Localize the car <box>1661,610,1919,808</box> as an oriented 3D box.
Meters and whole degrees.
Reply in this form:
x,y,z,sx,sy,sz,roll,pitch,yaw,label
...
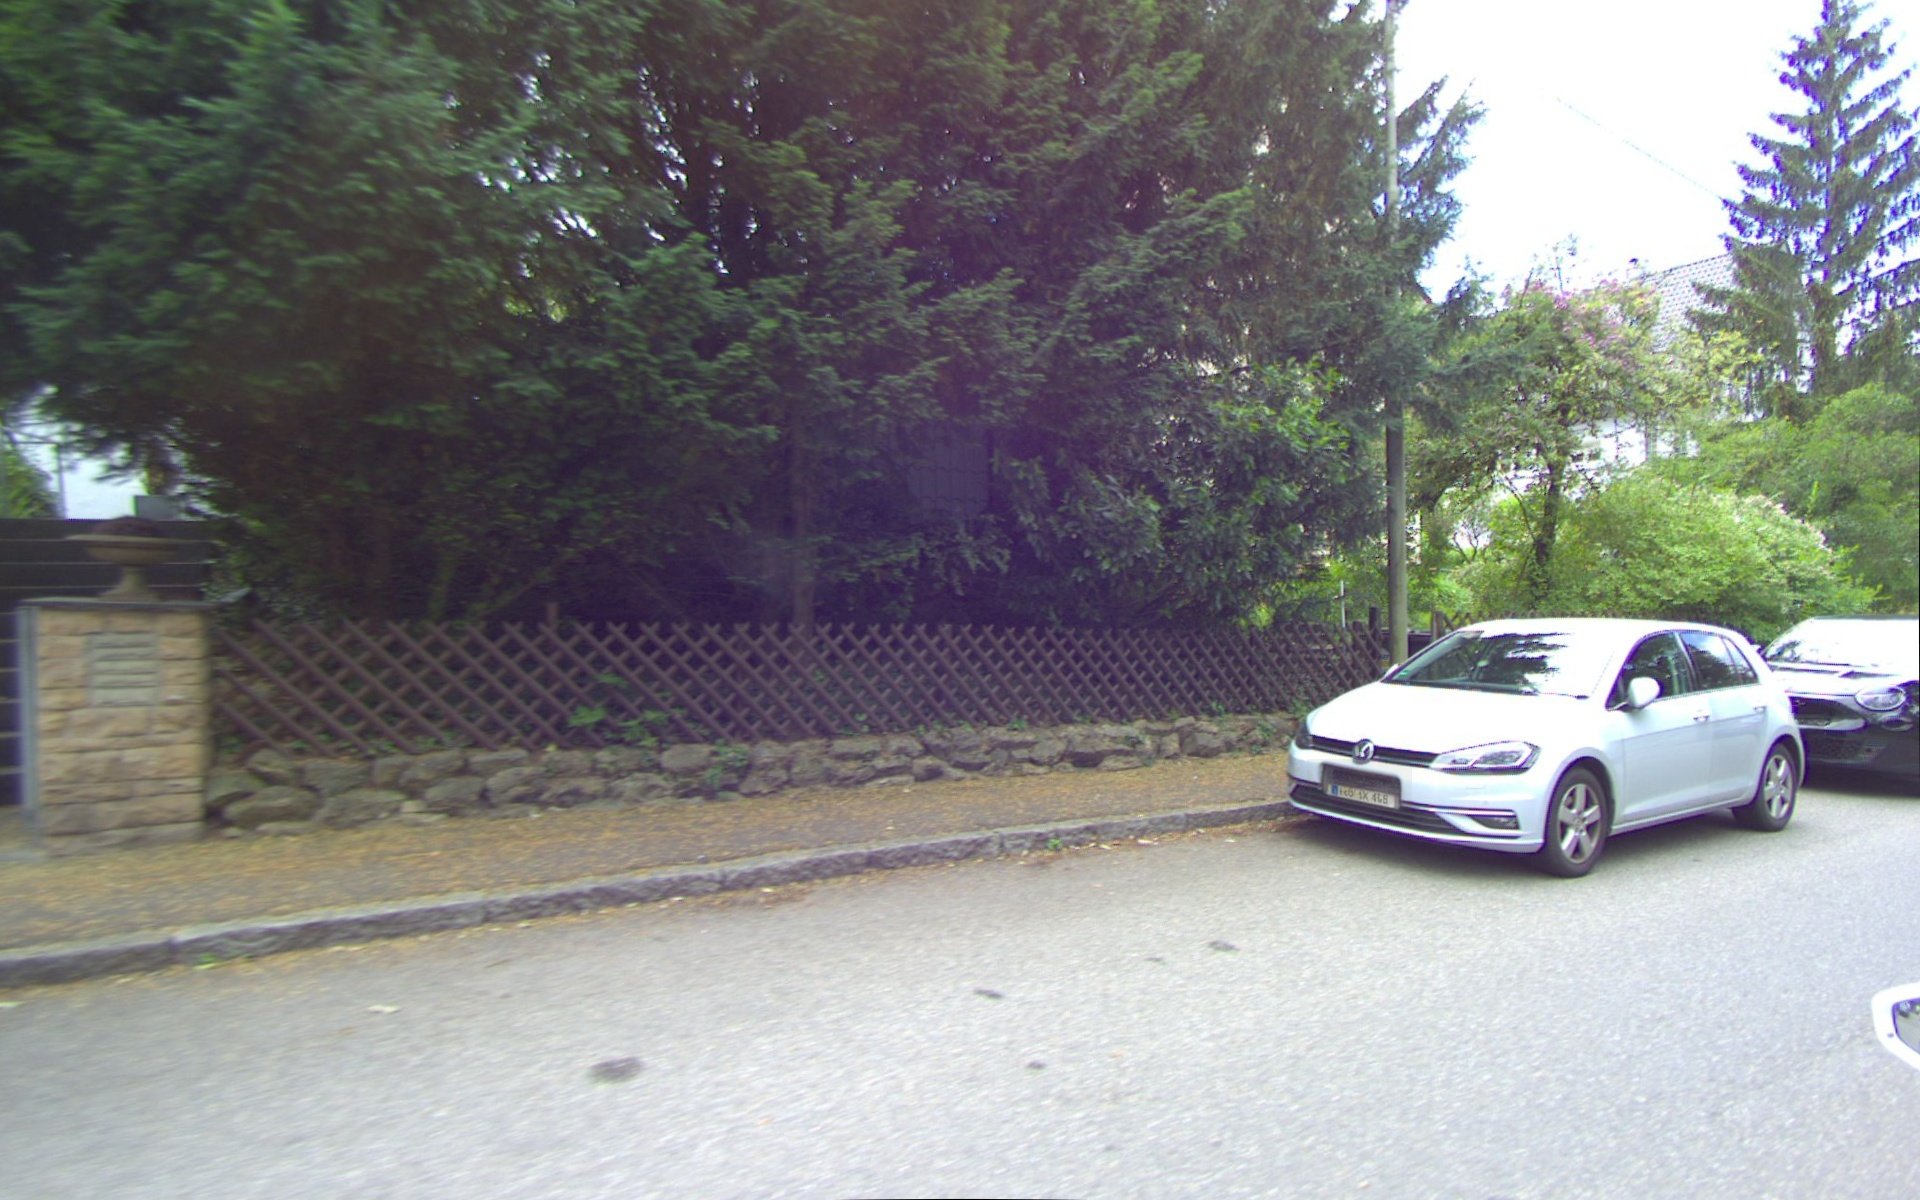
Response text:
x,y,z,sx,sy,sz,roll,pitch,yaw,label
8.769,0.896,9.669,3.966,1.520,1.775,1,0,-30,car

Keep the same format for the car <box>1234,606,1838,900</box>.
x,y,z,sx,sy,sz,roll,pitch,yaw,label
4.097,0.812,6.972,4.274,1.458,1.774,1,1,-31,car

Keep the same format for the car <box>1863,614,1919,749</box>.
x,y,z,sx,sy,sz,roll,pitch,yaw,label
12.804,0.968,12.033,3.966,1.520,1.775,1,0,-30,car
